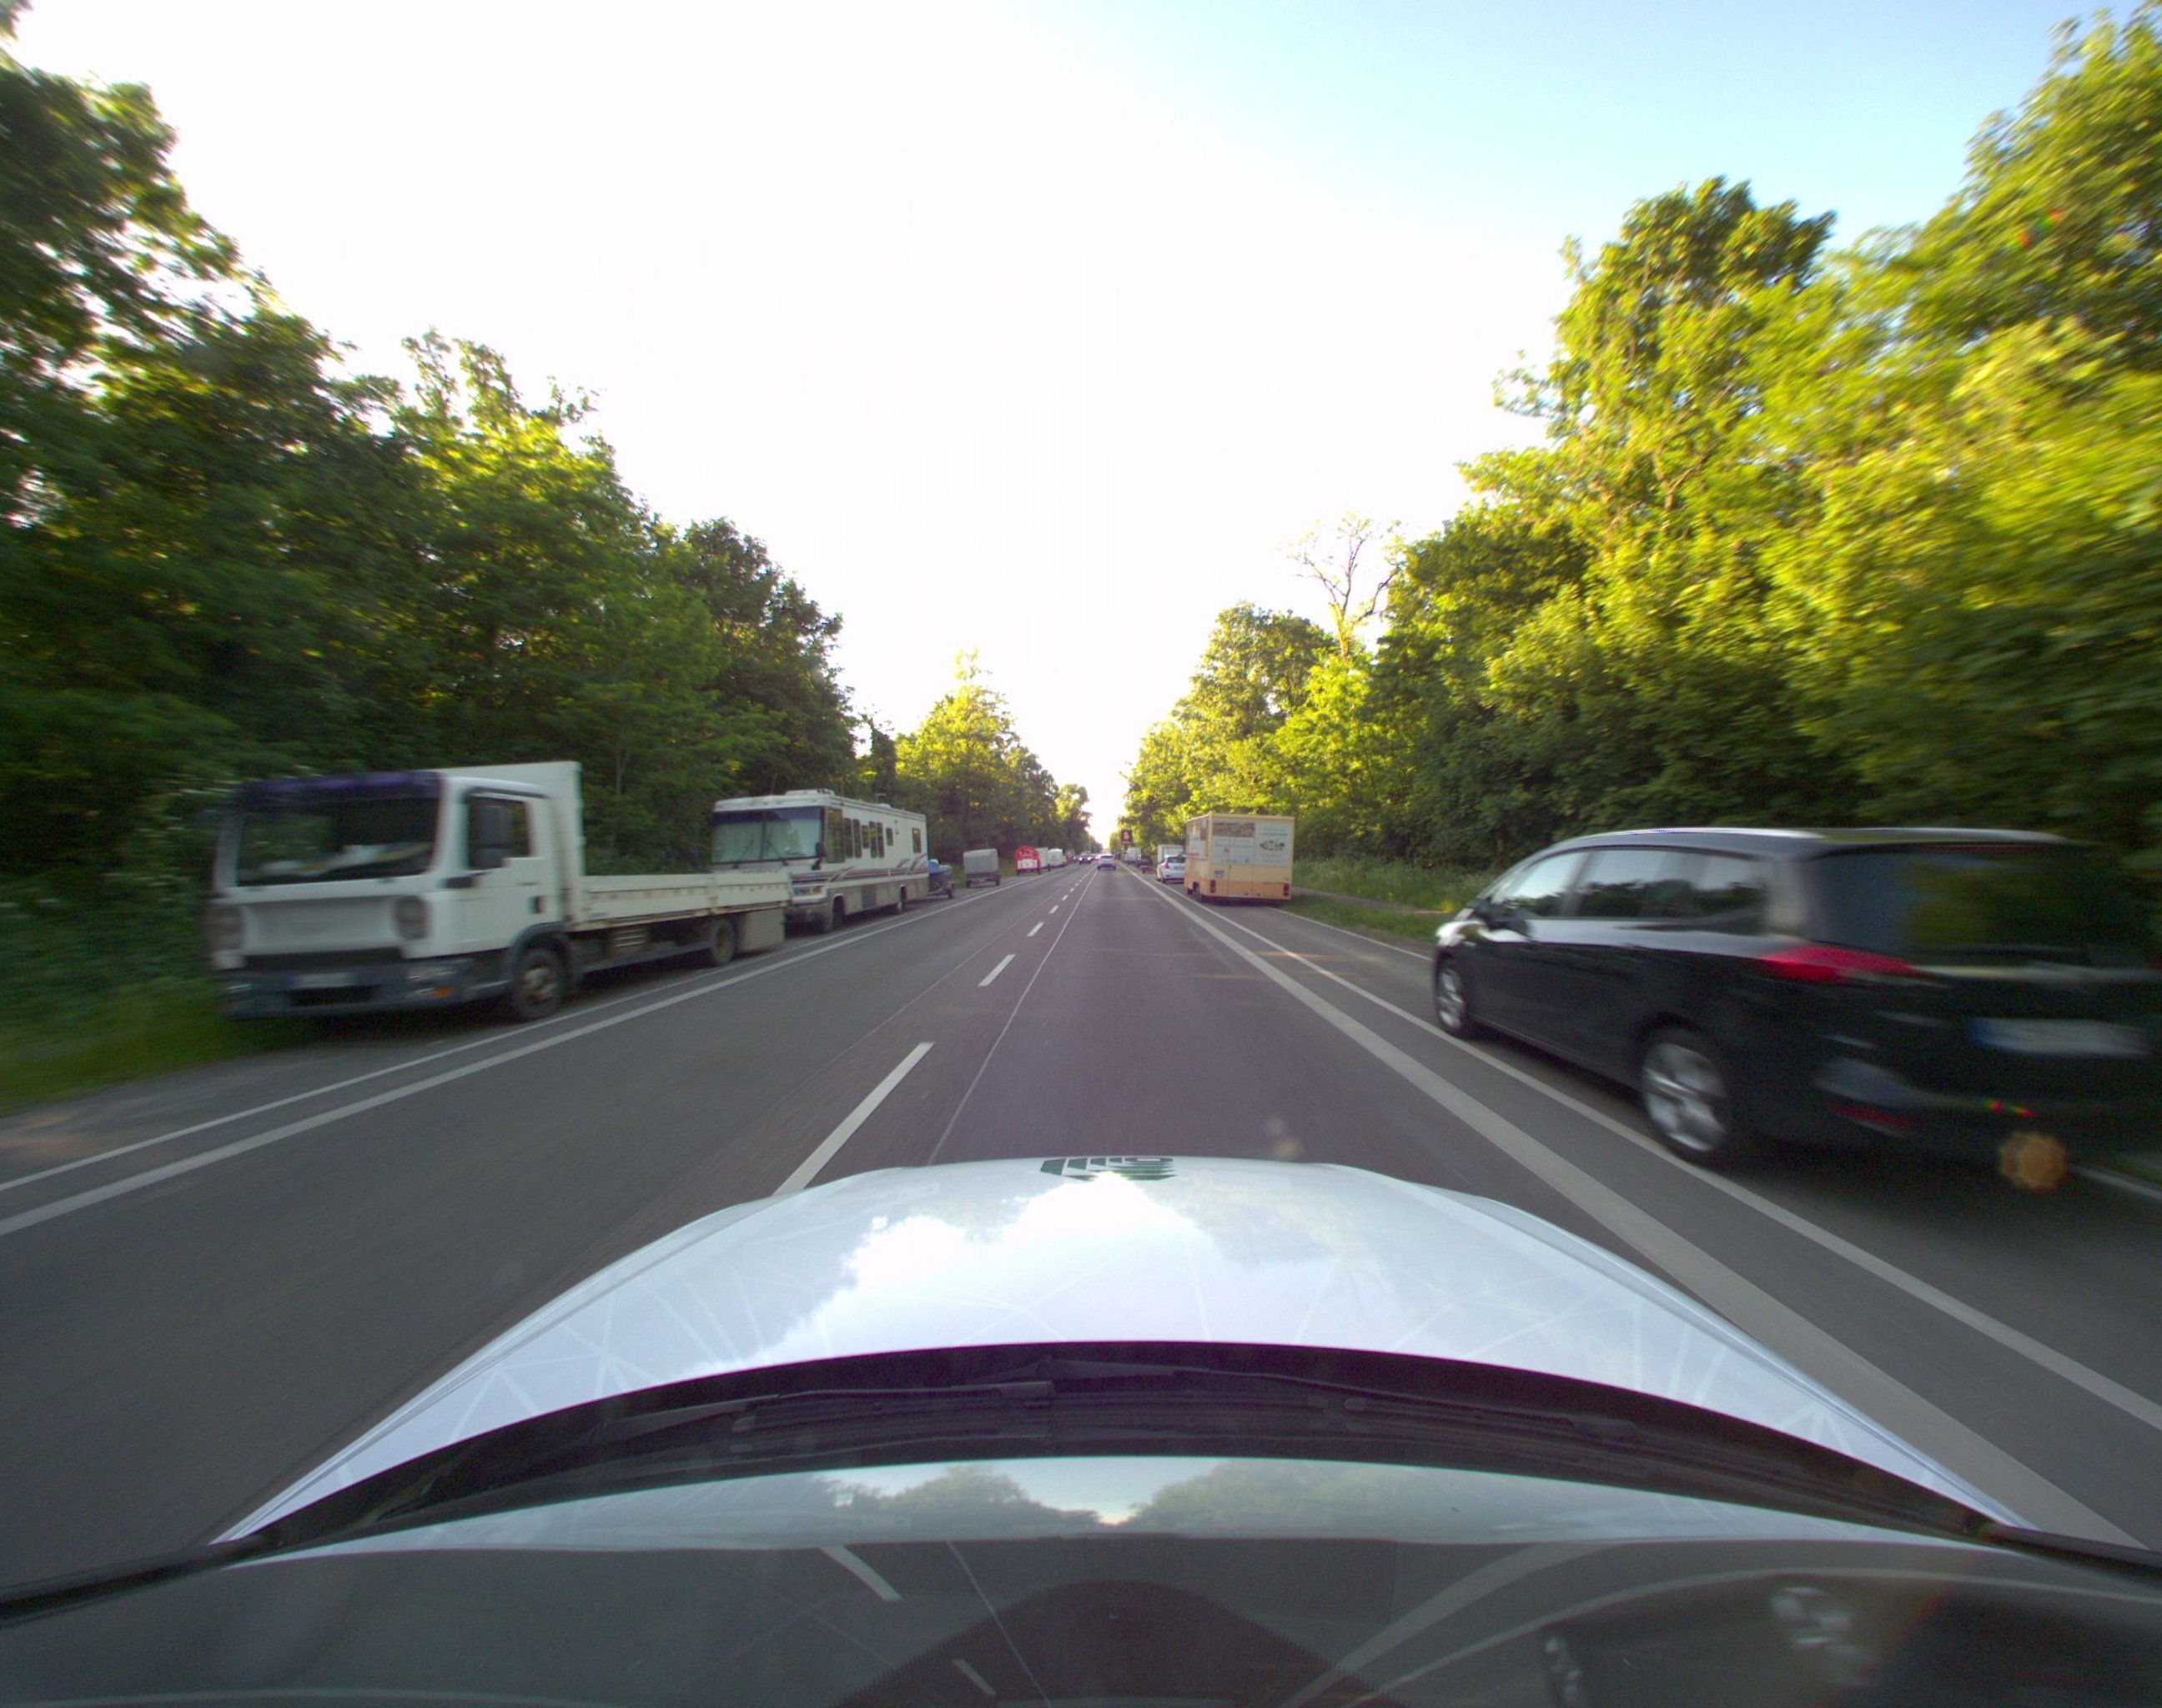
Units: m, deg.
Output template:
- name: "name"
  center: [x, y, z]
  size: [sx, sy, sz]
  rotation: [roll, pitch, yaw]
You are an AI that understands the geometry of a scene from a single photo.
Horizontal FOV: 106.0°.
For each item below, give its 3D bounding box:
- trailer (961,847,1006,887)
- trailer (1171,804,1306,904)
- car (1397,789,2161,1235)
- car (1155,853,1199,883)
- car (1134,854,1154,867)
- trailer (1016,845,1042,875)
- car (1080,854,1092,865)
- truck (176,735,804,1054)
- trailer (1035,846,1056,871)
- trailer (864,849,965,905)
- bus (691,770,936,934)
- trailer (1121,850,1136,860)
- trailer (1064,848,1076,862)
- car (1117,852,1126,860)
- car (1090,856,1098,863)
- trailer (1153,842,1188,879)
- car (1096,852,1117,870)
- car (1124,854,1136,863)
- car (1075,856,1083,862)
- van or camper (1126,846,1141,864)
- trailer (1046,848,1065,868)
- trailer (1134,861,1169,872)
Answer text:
- name: "trailer"
  center: [-5.431, 0.717, 45.774]
  size: [1.846, 2.013, 3.563]
  rotation: [-4, 0, 2]
- name: "trailer"
  center: [5.125, 0.041, 28.572]
  size: [2.911, 2.841, 9.884]
  rotation: [1, 0, 1]
- name: "car"
  center: [3.831, 0.618, 5.400]
  size: [1.793, 1.690, 4.603]
  rotation: [0, -1, 2]
- name: "car"
  center: [5.043, 0.716, 43.317]
  size: [1.880, 1.468, 4.571]
  rotation: [-1, 0, 2]
- name: "car"
  center: [7.304, 0.712, 94.345]
  size: [1.829, 1.421, 4.595]
  rotation: [1, 0, -1]
- name: "trailer"
  center: [-4.445, 0.489, 70.078]
  size: [2.060, 2.480, 3.559]
  rotation: [-2, 0, -2]
- name: "car"
  center: [0.791, 0.828, 129.122]
  size: [1.811, 1.587, 4.461]
  rotation: [-2, -1, 2]
- name: "truck"
  center: [-6.740, 0.353, 11.504]
  size: [2.473, 2.824, 8.428]
  rotation: [-1, 0, 2]
- name: "trailer"
  center: [-3.643, 0.450, 84.416]
  size: [2.060, 2.480, 3.559]
  rotation: [-2, 0, -2]
- name: "trailer"
  center: [-6.250, 0.792, 31.538]
  size: [2.419, 1.914, 6.266]
  rotation: [-1, 0, 2]
- name: "bus"
  center: [-6.635, 0.006, 22.777]
  size: [2.817, 3.431, 11.204]
  rotation: [0, 0, 2]
- name: "trailer"
  center: [9.711, 0.250, 166.435]
  size: [1.945, 2.023, 3.864]
  rotation: [-1, 0, 21]
- name: "trailer"
  center: [-2.084, 0.202, 155.625]
  size: [1.986, 2.621, 4.088]
  rotation: [-2, 0, 2]
- name: "car"
  center: [10.717, 0.619, 216.064]
  size: [2.105, 2.013, 5.042]
  rotation: [1, 0, 2]
- name: "car"
  center: [3.026, 1.207, 186.821]
  size: [1.812, 1.532, 4.532]
  rotation: [-2, -1, 2]
- name: "trailer"
  center: [5.376, 0.376, 49.233]
  size: [1.748, 2.161, 3.540]
  rotation: [-1, 0, 1]
- name: "car"
  center: [2.504, 0.704, 80.098]
  size: [1.986, 1.640, 4.002]
  rotation: [-2, 0, 2]
- name: "car"
  center: [8.307, 0.722, 138.881]
  size: [1.729, 1.488, 4.401]
  rotation: [1, 0, 1]
- name: "car"
  center: [-0.420, 1.124, 194.482]
  size: [1.848, 1.464, 4.786]
  rotation: [-1, 0, 2]
- name: "van or camper"
  center: [7.591, 0.100, 117.934]
  size: [2.117, 2.482, 6.309]
  rotation: [-1, 0, 3]
- name: "trailer"
  center: [-3.347, 0.496, 107.090]
  size: [2.339, 2.529, 4.341]
  rotation: [-2, 0, -2]
- name: "trailer"
  center: [5.464, 0.955, 63.452]
  size: [2.423, 0.798, 5.662]
  rotation: [0, 0, 2]
